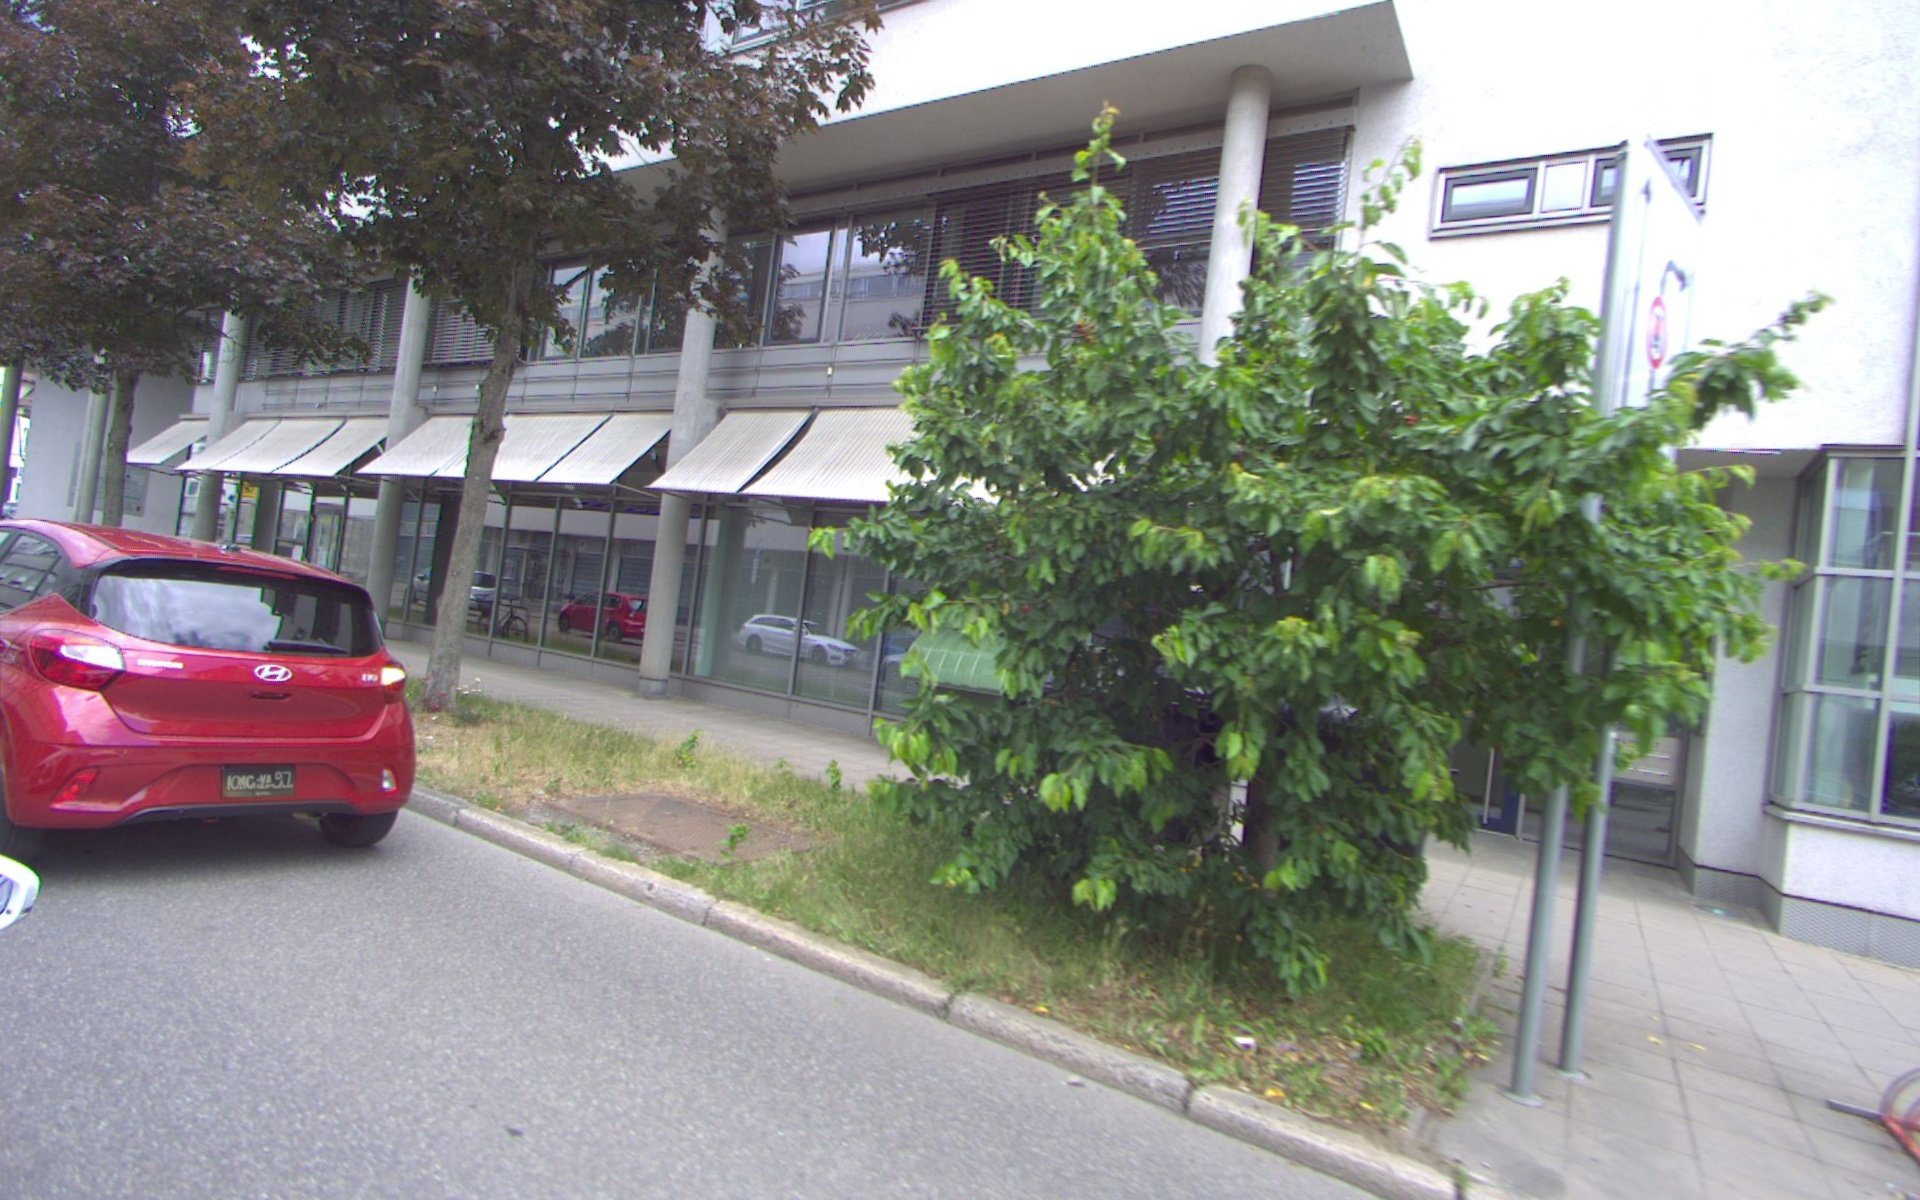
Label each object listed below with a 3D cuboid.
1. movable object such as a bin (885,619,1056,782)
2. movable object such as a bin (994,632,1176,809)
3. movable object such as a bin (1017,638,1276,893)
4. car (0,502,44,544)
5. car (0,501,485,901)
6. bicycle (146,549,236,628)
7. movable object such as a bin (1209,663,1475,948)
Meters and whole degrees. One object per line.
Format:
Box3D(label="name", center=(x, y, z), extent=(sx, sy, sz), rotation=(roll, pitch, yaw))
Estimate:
Box3D(label="movable object such as a bin", center=(0.122, 1.036, 10.734), extent=(1.311, 1.483, 1.099), rotation=(7, 0, 31))
Box3D(label="movable object such as a bin", center=(1.260, 1.160, 10.040), extent=(1.311, 1.483, 1.123), rotation=(7, 0, 31))
Box3D(label="movable object such as a bin", center=(1.366, 1.118, 7.285), extent=(1.389, 1.483, 1.129), rotation=(7, 0, 31))
Box3D(label="car", center=(-44.845, -3.754, 46.027), extent=(1.895, 1.689, 3.798), rotation=(7, -2, 26))
Box3D(label="car", center=(-4.665, 0.322, 5.536), extent=(3.934, 1.467, 1.703), rotation=(7, -4, 32))
Box3D(label="bicycle", center=(-12.712, -0.207, 16.612), extent=(1.993, 1.098, 0.362), rotation=(7, -2, 31))
Box3D(label="movable object such as a bin", center=(2.521, 1.248, 6.599), extent=(1.311, 1.483, 1.099), rotation=(7, 0, 31))
